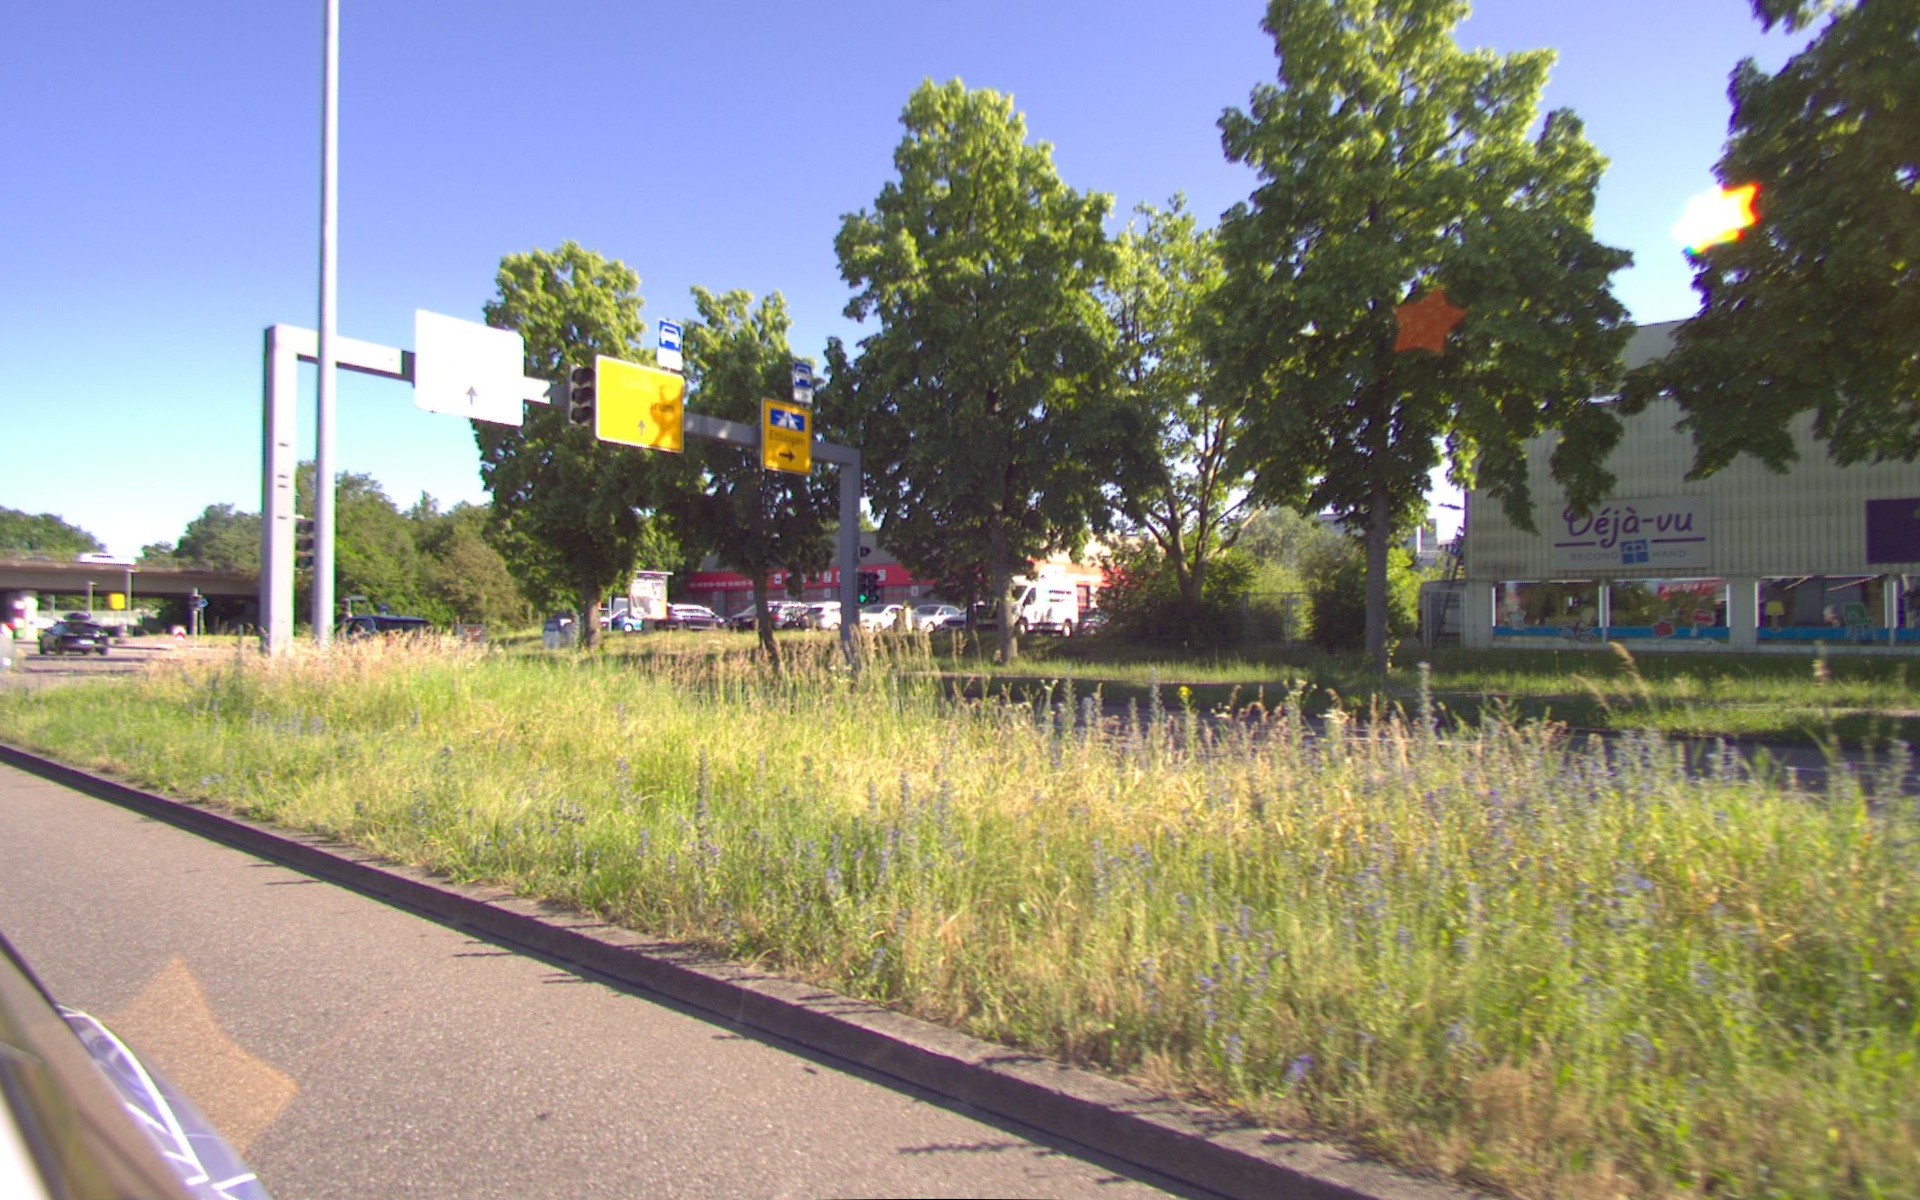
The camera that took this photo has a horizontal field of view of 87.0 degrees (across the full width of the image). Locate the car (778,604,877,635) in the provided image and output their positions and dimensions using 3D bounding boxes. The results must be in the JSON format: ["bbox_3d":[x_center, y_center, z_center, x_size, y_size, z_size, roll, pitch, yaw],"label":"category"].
[{"bbox_3d":[-6.081,0.935,46.954,1.943,1.399,4.577,-1,-2,37],"label":"car"}]

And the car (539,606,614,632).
[{"bbox_3d":[-23.830,1.203,62.946,4.061,1.563,1.901,1,-2,-31],"label":"car"}]

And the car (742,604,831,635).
[{"bbox_3d":[-8.166,0.951,47.975,1.941,1.399,4.085,-1,-2,33],"label":"car"}]

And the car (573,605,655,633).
[{"bbox_3d":[-19.809,1.130,58.037,4.068,1.563,1.897,2,-2,-43],"label":"car"}]

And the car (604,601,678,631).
[{"bbox_3d":[-23.967,1.213,76.123,4.983,2.168,1.893,0,-2,5],"label":"car"}]

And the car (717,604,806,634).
[{"bbox_3d":[-9.719,0.961,49.735,1.942,1.399,4.082,-1,-2,35],"label":"car"}]

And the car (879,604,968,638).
[{"bbox_3d":[-1.539,0.925,44.137,1.941,1.399,4.085,-1,-2,33],"label":"car"}]

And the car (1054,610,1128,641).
[{"bbox_3d":[6.713,1.312,51.509,1.893,1.466,4.077,-1,-2,39],"label":"car"}]

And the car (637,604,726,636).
[{"bbox_3d":[-14.403,1.066,52.458,1.944,1.563,4.077,-1,-2,39],"label":"car"}]

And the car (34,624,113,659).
[{"bbox_3d":[-41.958,1.953,47.857,4.564,1.554,1.859,-1,-4,37],"label":"car"}]

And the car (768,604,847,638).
[{"bbox_3d":[-9.218,1.277,60.842,5.126,1.971,1.761,-1,-2,41],"label":"car"}]

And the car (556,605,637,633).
[{"bbox_3d":[-21.478,1.145,59.829,4.067,1.563,1.898,2,-2,-41],"label":"car"}]

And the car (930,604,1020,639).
[{"bbox_3d":[0.681,0.914,42.756,1.941,1.399,4.085,-1,-2,33],"label":"car"}]

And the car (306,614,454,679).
[{"bbox_3d":[-16.441,1.310,28.611,4.621,1.710,1.924,-2,-4,37],"label":"car"}]

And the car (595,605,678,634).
[{"bbox_3d":[-18.027,1.090,56.458,1.818,1.563,4.074,-1,-2,41],"label":"car"}]

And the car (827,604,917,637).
[{"bbox_3d":[-3.869,0.936,45.269,1.941,1.399,4.085,-1,-2,33],"label":"car"}]

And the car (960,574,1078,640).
[{"bbox_3d":[2.497,0.357,40.866,2.200,2.452,5.830,-1,-2,33],"label":"car"}]
